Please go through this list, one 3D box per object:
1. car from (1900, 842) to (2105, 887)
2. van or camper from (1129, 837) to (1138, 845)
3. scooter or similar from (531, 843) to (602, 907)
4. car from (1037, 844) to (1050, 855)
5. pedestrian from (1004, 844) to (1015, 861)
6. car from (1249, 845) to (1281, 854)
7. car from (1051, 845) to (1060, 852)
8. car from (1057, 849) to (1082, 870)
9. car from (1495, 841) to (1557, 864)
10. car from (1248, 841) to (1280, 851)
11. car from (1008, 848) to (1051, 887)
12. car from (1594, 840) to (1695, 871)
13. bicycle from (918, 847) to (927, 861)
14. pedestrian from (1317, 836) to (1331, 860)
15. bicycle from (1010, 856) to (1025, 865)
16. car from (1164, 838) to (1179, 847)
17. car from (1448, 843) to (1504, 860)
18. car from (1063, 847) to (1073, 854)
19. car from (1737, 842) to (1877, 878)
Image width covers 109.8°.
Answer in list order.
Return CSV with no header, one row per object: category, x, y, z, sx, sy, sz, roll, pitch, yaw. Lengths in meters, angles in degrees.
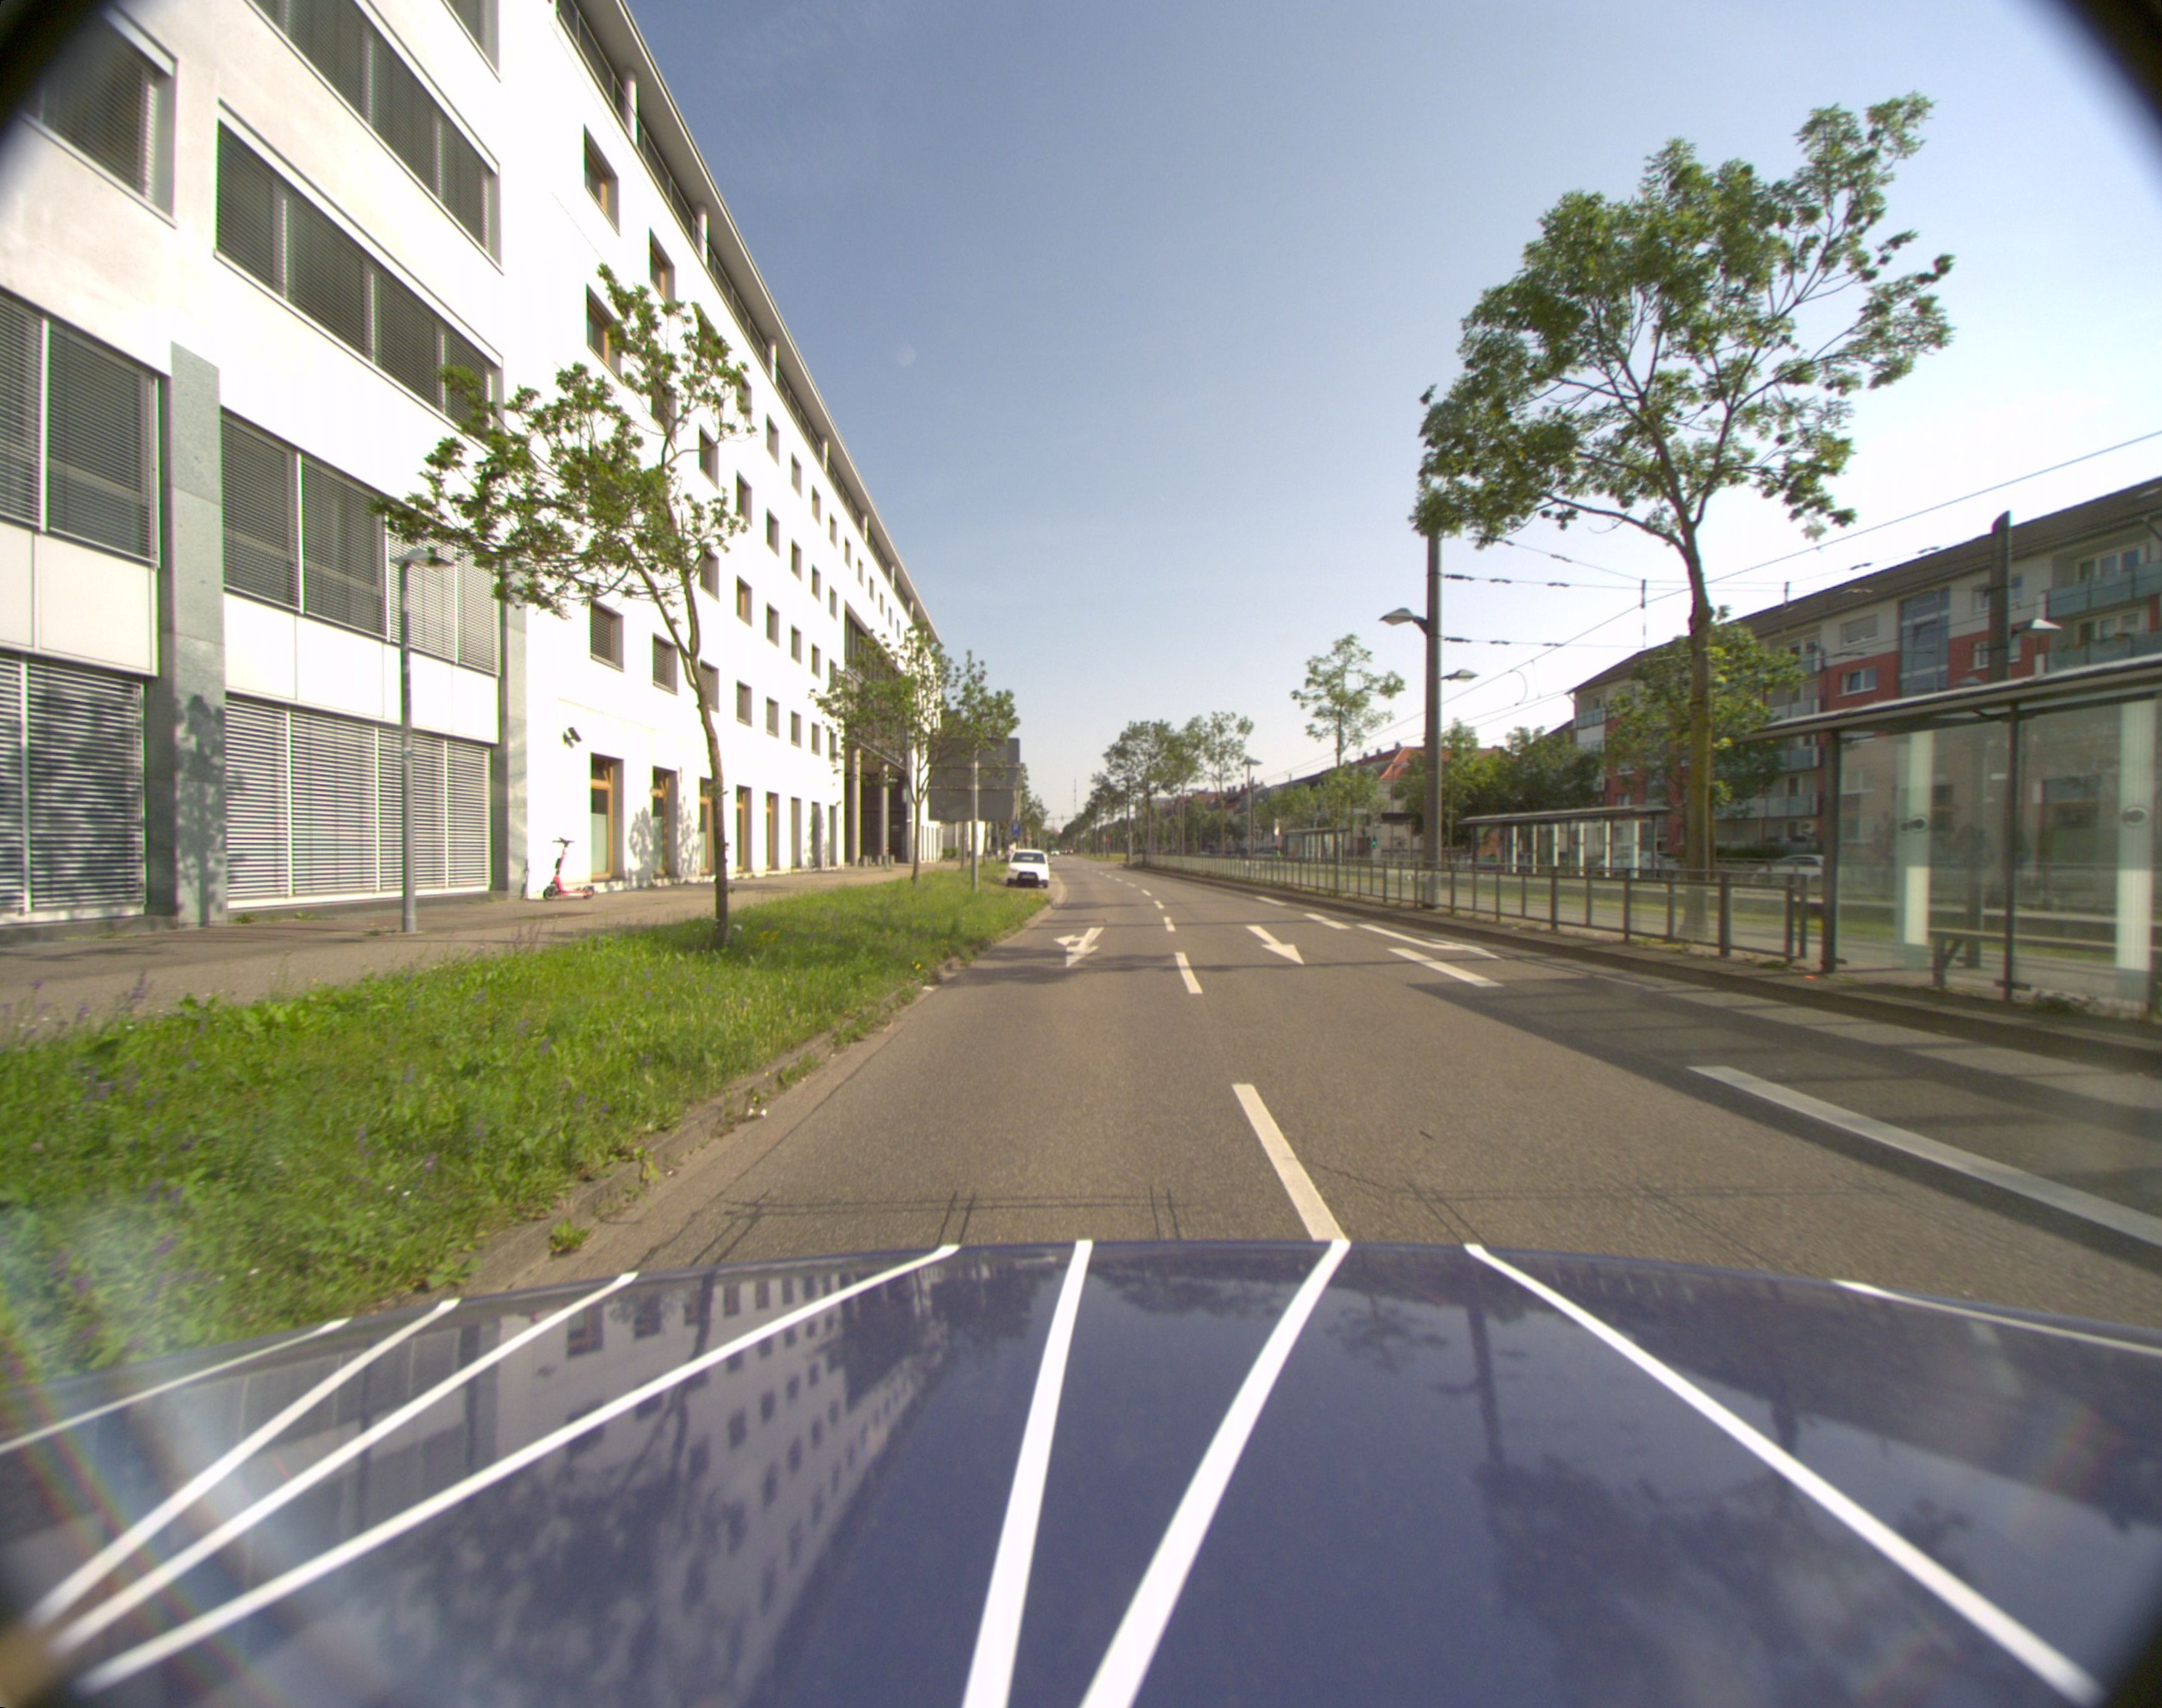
car,31.154,0.305,25.903,1.986,1.353,4.067,-2,1,-3
van or camper,15.804,-3.970,229.627,2.147,2.460,6.056,2,1,-3
scooter or similar,-10.074,0.389,14.925,0.463,1.206,1.255,1,1,3
car,-5.751,-0.714,117.342,1.999,1.652,3.998,0,1,-3
pedestrian,-6.656,-0.127,70.654,0.777,1.606,0.714,2,1,24
car,26.002,-0.585,107.372,3.989,1.251,1.879,0,1,30
car,-5.710,-1.216,168.810,1.999,1.652,3.998,0,1,-3
car,-0.897,0.423,56.950,1.725,1.510,3.779,0,0,-3
car,30.054,-0.105,51.441,1.838,1.462,3.825,-2,1,-3
car,25.211,-1.088,104.762,3.990,1.262,1.890,-1,1,27
car,-2.121,0.539,31.537,1.694,1.517,3.849,0,0,-3
car,30.583,0.053,41.447,1.986,1.547,4.535,-2,1,-3
bicycle,-12.359,0.005,59.240,0.495,1.080,1.549,2,1,-5
pedestrian,16.911,-0.445,52.855,0.673,1.644,0.794,0,1,-7
bicycle,-6.008,0.608,71.829,1.273,0.629,0.521,6,2,4
car,18.257,-2.304,153.183,1.999,1.696,4.710,3,1,-4
car,29.705,-0.196,57.283,1.838,1.141,4.163,-2,1,-3
car,-3.014,-0.748,174.534,1.999,1.652,3.998,0,1,-3
car,30.773,0.204,32.393,1.986,1.353,4.067,-2,1,-3
